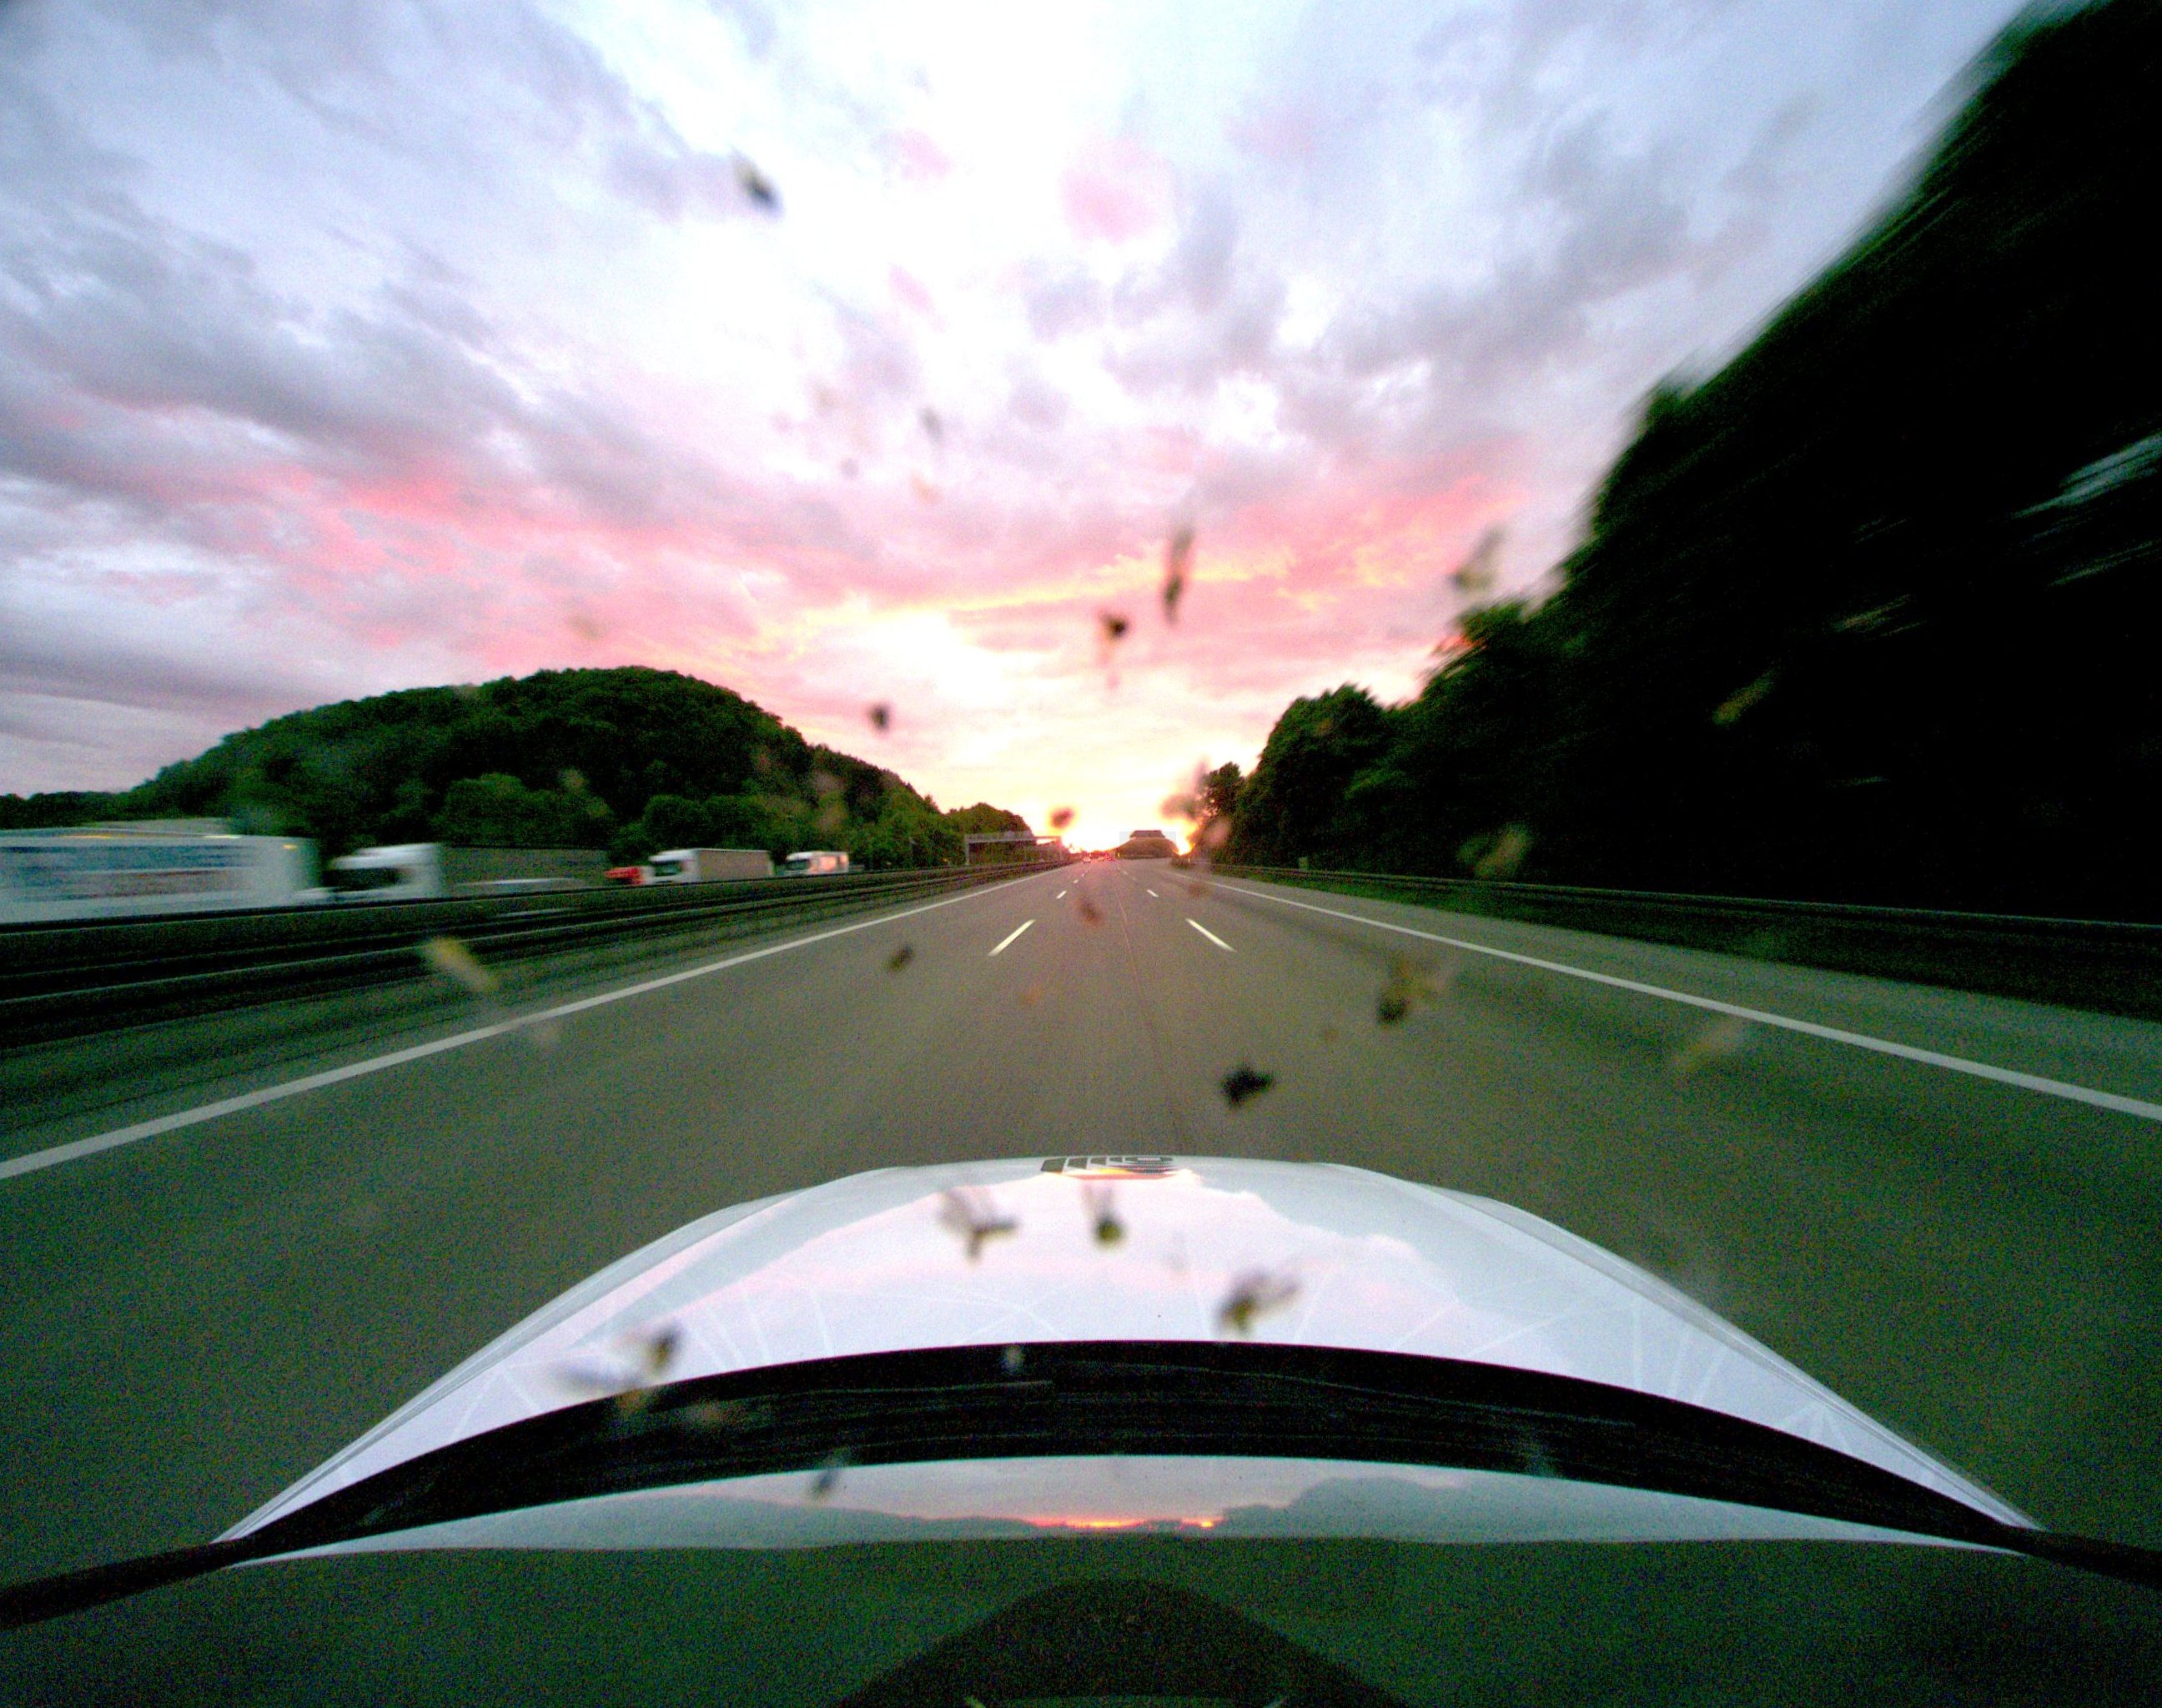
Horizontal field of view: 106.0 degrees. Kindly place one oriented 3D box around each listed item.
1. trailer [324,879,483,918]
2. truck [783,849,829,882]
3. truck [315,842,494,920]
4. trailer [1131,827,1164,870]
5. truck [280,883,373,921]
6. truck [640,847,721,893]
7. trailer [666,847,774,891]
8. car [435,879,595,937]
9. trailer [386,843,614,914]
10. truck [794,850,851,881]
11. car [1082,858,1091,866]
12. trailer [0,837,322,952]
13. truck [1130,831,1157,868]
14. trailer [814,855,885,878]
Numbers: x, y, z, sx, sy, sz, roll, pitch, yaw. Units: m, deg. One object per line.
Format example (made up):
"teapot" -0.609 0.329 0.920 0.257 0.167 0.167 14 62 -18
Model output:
"trailer" -76.364 4.896 92.300 2.903 3.519 13.506 -2 0 35
"truck" -30.032 1.239 89.178 2.866 3.424 6.720 -1 0 -2
"truck" -32.848 1.203 39.982 2.862 3.424 6.730 -1 0 2
"trailer" 6.755 -0.510 84.711 2.761 4.086 13.745 -1 0 2
"truck" -80.258 5.065 86.735 2.903 3.519 6.756 -2 0 35
"truck" -31.766 1.213 64.936 2.862 3.424 6.731 -1 0 3
"trailer" -31.458 1.180 71.994 2.862 3.424 13.858 -1 0 2
"car" -18.964 1.739 27.613 1.986 1.593 4.742 -1 0 2
"trailer" -32.541 1.158 46.928 2.862 3.424 13.579 -1 0 2
"truck" -30.329 1.236 96.289 2.867 3.424 13.775 -1 0 -3
"car" 1.409 1.955 205.481 2.006 1.749 3.904 -5 0 1
"trailer" -33.421 1.211 27.381 2.861 3.424 13.234 -1 0 3
"truck" 6.987 -0.480 91.492 2.726 3.996 5.852 -1 0 2
"trailer" -40.635 2.055 143.677 3.032 3.678 13.428 -1 0 32
